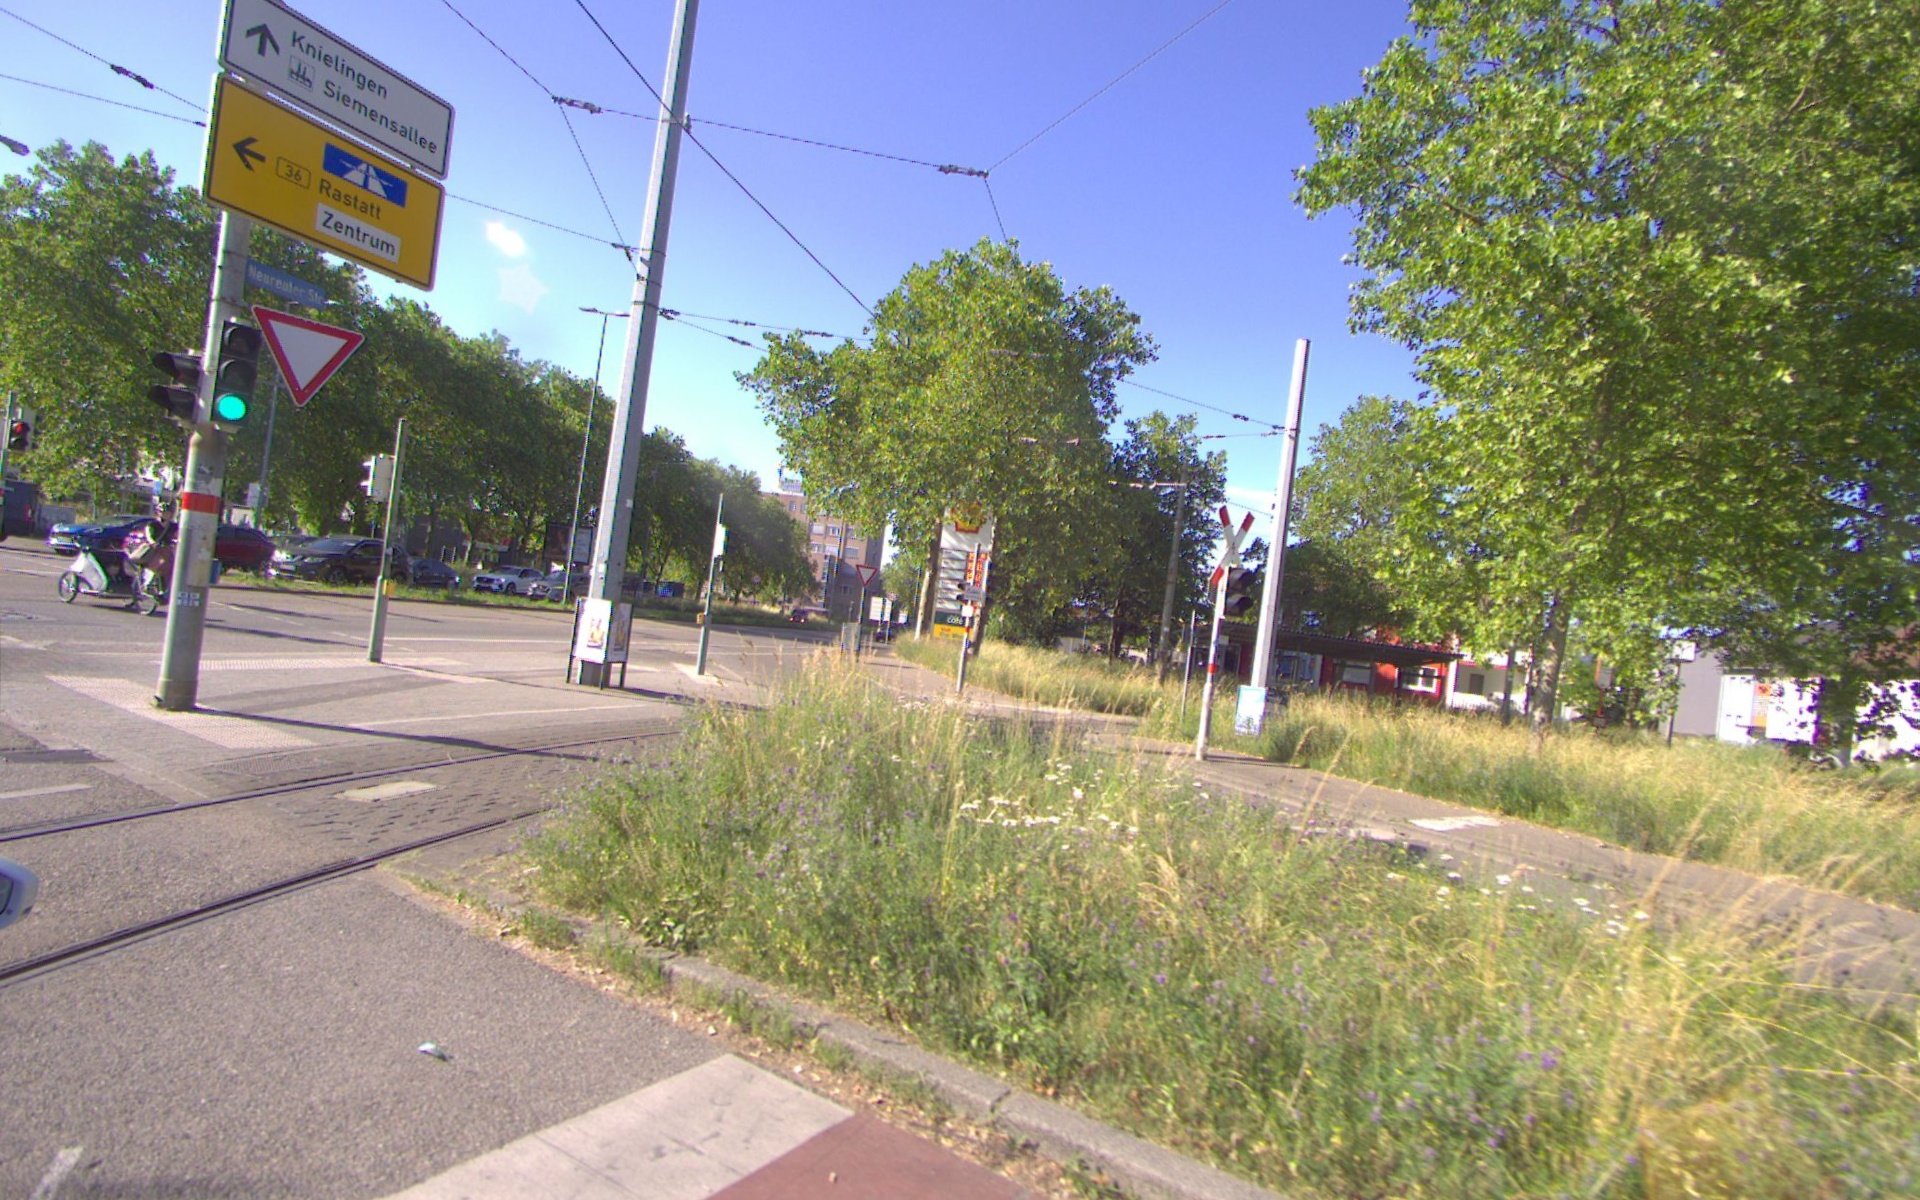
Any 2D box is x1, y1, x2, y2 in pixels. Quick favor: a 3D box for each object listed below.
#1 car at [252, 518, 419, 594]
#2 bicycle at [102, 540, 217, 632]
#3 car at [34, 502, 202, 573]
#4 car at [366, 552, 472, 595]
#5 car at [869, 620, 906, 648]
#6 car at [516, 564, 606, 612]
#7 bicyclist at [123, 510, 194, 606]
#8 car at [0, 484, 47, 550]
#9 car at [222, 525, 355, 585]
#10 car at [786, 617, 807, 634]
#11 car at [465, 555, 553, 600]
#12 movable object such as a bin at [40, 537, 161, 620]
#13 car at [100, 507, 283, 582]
[{"bbox_3d":[-18.995,-1.261,30.876,1.885,1.731,4.499,7,-1,5],"label":"car"},{"bbox_3d":[-11.882,-0.215,14.922,1.787,1.132,0.468,7,-1,24],"label":"bicycle"},{"bbox_3d":[-26.232,-1.895,31.532,1.681,1.619,3.863,7,-1,4],"label":"car"},{"bbox_3d":[-24.335,-1.138,45.483,1.898,1.424,4.574,7,-1,5],"label":"car"},{"bbox_3d":[-5.248,2.521,73.096,1.792,1.723,3.778,8,-2,6],"label":"car"},{"bbox_3d":[-17.585,-0.488,44.534,1.962,1.636,4.004,8,-1,5],"label":"car"},{"bbox_3d":[-12.093,-0.627,15.183,0.555,1.356,0.511,7,0,23],"label":"bicyclist"},{"bbox_3d":[-34.402,-3.123,33.828,5.079,2.094,2.109,9,-2,-37],"label":"car"},{"bbox_3d":[-25.514,-1.655,38.402,1.898,1.698,4.178,7,-1,4],"label":"car"},{"bbox_3d":[-17.010,2.646,104.585,1.346,1.635,3.212,4,-2,4],"label":"car"},{"bbox_3d":[-23.088,-1.103,51.765,1.873,1.700,4.784,7,-3,5],"label":"car"},{"bbox_3d":[-13.351,-0.336,15.638,1.293,1.081,0.911,7,-1,27],"label":"movable object such as a bin"},{"bbox_3d":[-22.519,-1.562,29.696,1.782,1.619,4.094,7,-1,8],"label":"car"}]
